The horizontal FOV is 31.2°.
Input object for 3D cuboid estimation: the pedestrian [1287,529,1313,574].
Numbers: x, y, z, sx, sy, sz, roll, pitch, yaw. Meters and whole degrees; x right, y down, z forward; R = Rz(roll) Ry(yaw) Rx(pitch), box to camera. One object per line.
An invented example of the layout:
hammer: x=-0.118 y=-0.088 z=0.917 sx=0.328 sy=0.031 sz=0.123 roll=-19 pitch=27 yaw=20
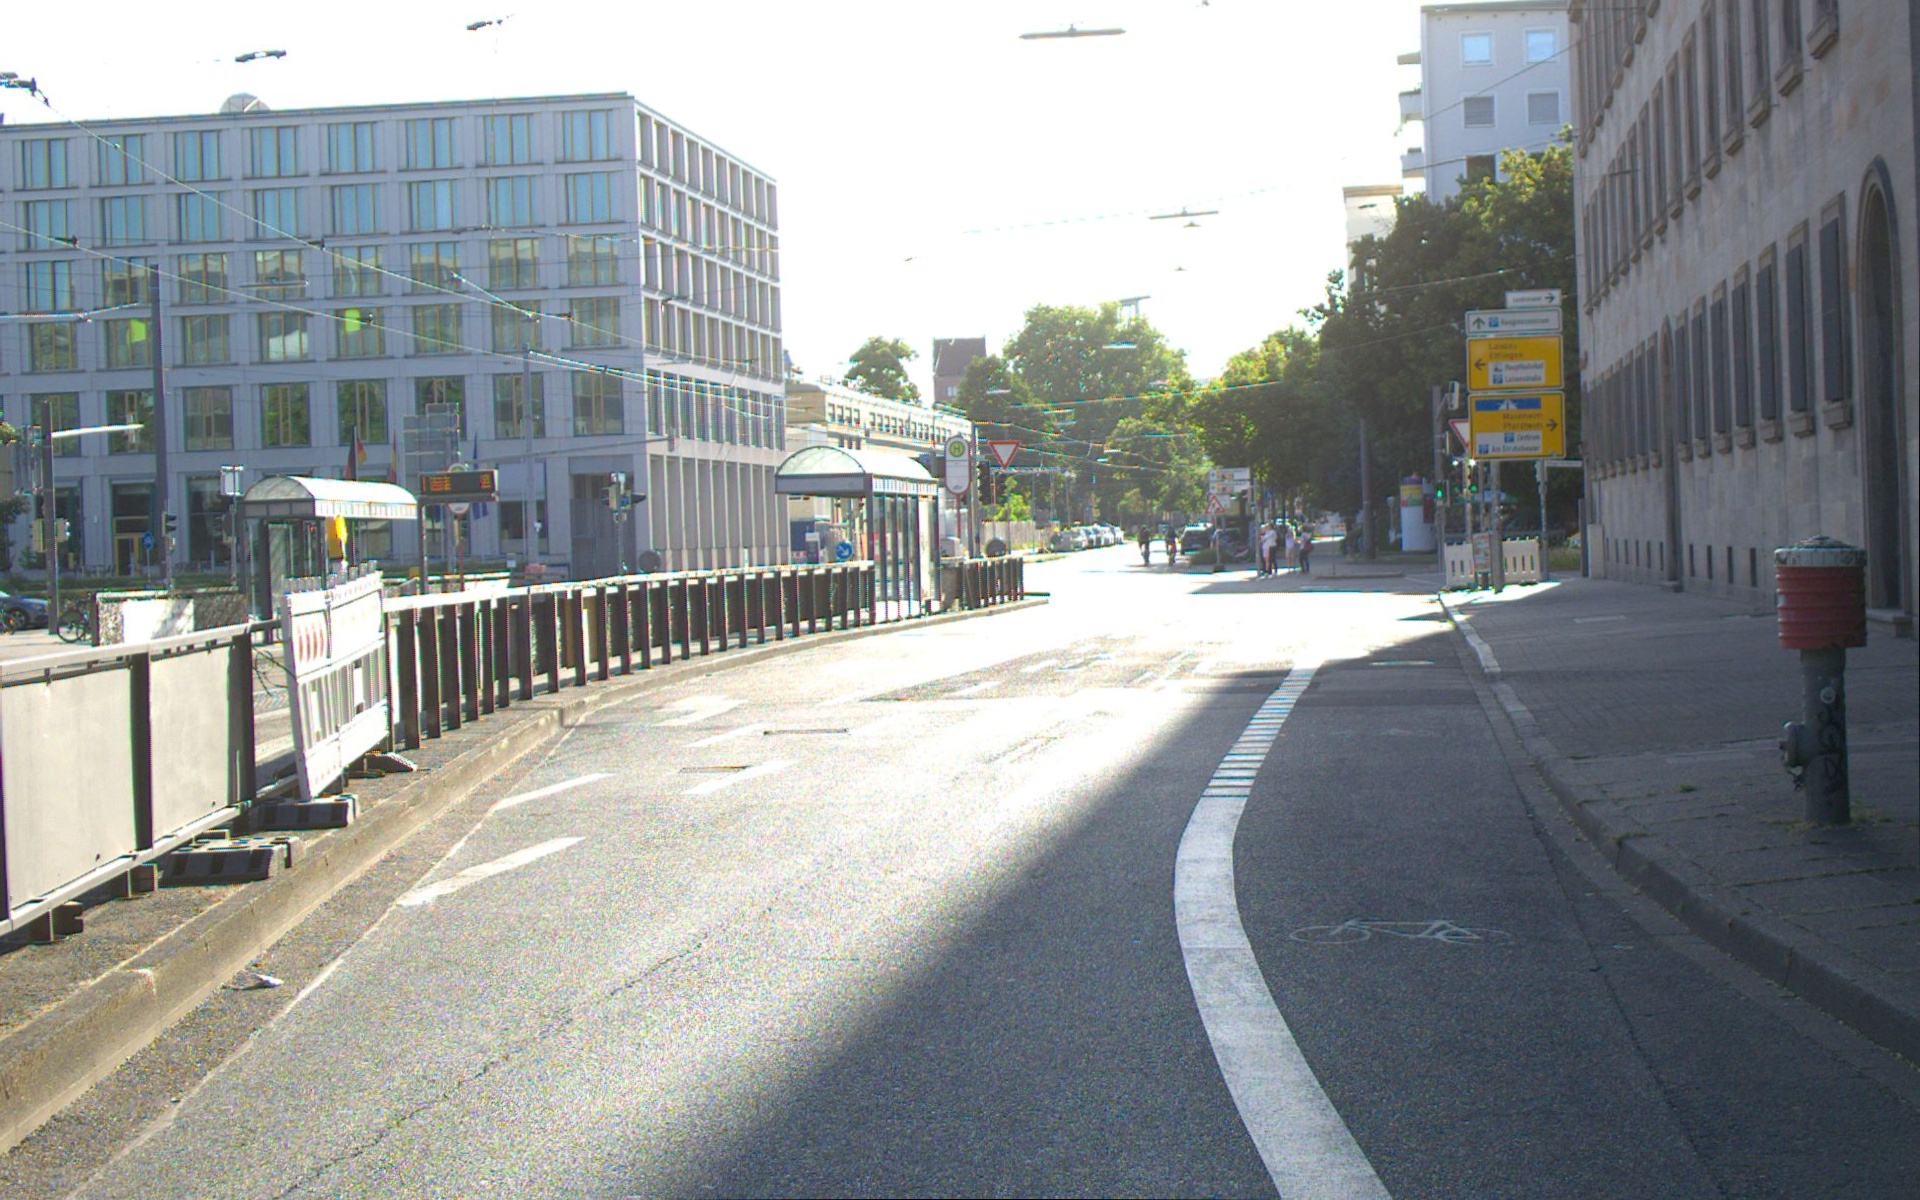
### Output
pedestrian: x=12.125 y=-1.725 z=122.565 sx=0.762 sy=1.553 sz=0.588 roll=-2 pitch=1 yaw=-8

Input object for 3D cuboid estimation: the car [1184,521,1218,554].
car: x=13.059 y=-3.366 z=186.177 sx=1.685 sy=1.731 sz=3.508 roll=0 pitch=0 yaw=7

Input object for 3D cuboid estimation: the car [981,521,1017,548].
car: x=2.529 y=-4.235 z=222.373 sx=1.820 sy=1.706 sz=3.804 roll=-2 pitch=1 yaw=7

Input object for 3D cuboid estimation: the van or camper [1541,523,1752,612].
van or camper: x=22.572 y=-1.059 z=113.049 sx=6.712 sy=2.852 sz=2.909 roll=0 pitch=0 yaw=12

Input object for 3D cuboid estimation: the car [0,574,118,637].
car: x=-20.914 y=0.129 z=75.421 sx=4.500 sy=1.346 sz=1.590 roll=-1 pitch=0 yaw=-25

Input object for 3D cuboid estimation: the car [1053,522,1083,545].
car: x=7.471 y=-4.590 z=237.732 sx=1.610 sy=1.493 sz=3.804 roll=-2 pitch=1 yaw=7

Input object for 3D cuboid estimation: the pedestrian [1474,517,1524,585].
pedestrian: x=14.109 y=-1.285 z=90.047 sx=1.039 sy=1.715 sz=1.035 roll=-2 pitch=1 yaw=-4

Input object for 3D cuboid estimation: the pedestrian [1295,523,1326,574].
pedestrian: x=12.413 y=-1.814 z=121.836 sx=0.847 sy=1.778 sz=0.780 roll=-2 pitch=1 yaw=-8

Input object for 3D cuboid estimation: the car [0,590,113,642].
car: x=-27.812 y=0.491 z=104.812 sx=3.531 sy=1.501 sz=1.522 roll=-1 pitch=1 yaw=6

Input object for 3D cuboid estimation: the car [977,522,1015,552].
car: x=2.230 y=-3.882 z=211.540 sx=1.820 sy=1.706 sz=3.804 roll=-2 pitch=1 yaw=7

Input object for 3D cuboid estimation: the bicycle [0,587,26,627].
bicycle: x=-27.891 y=0.231 z=98.654 sx=1.923 sy=1.118 sz=0.790 roll=-2 pitch=1 yaw=6

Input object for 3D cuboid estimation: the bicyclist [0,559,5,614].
bicyclist: x=-27.856 y=-0.368 z=98.698 sx=0.618 sy=1.577 sz=0.594 roll=-2 pitch=1 yaw=6

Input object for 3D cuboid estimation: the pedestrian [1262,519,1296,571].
pedestrian: x=11.204 y=-1.921 z=120.854 sx=0.966 sy=1.778 sz=0.780 roll=-2 pitch=1 yaw=-8

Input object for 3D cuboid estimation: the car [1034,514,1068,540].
car: x=6.205 y=-4.942 z=233.958 sx=1.820 sy=1.706 sz=3.804 roll=-2 pitch=1 yaw=7
